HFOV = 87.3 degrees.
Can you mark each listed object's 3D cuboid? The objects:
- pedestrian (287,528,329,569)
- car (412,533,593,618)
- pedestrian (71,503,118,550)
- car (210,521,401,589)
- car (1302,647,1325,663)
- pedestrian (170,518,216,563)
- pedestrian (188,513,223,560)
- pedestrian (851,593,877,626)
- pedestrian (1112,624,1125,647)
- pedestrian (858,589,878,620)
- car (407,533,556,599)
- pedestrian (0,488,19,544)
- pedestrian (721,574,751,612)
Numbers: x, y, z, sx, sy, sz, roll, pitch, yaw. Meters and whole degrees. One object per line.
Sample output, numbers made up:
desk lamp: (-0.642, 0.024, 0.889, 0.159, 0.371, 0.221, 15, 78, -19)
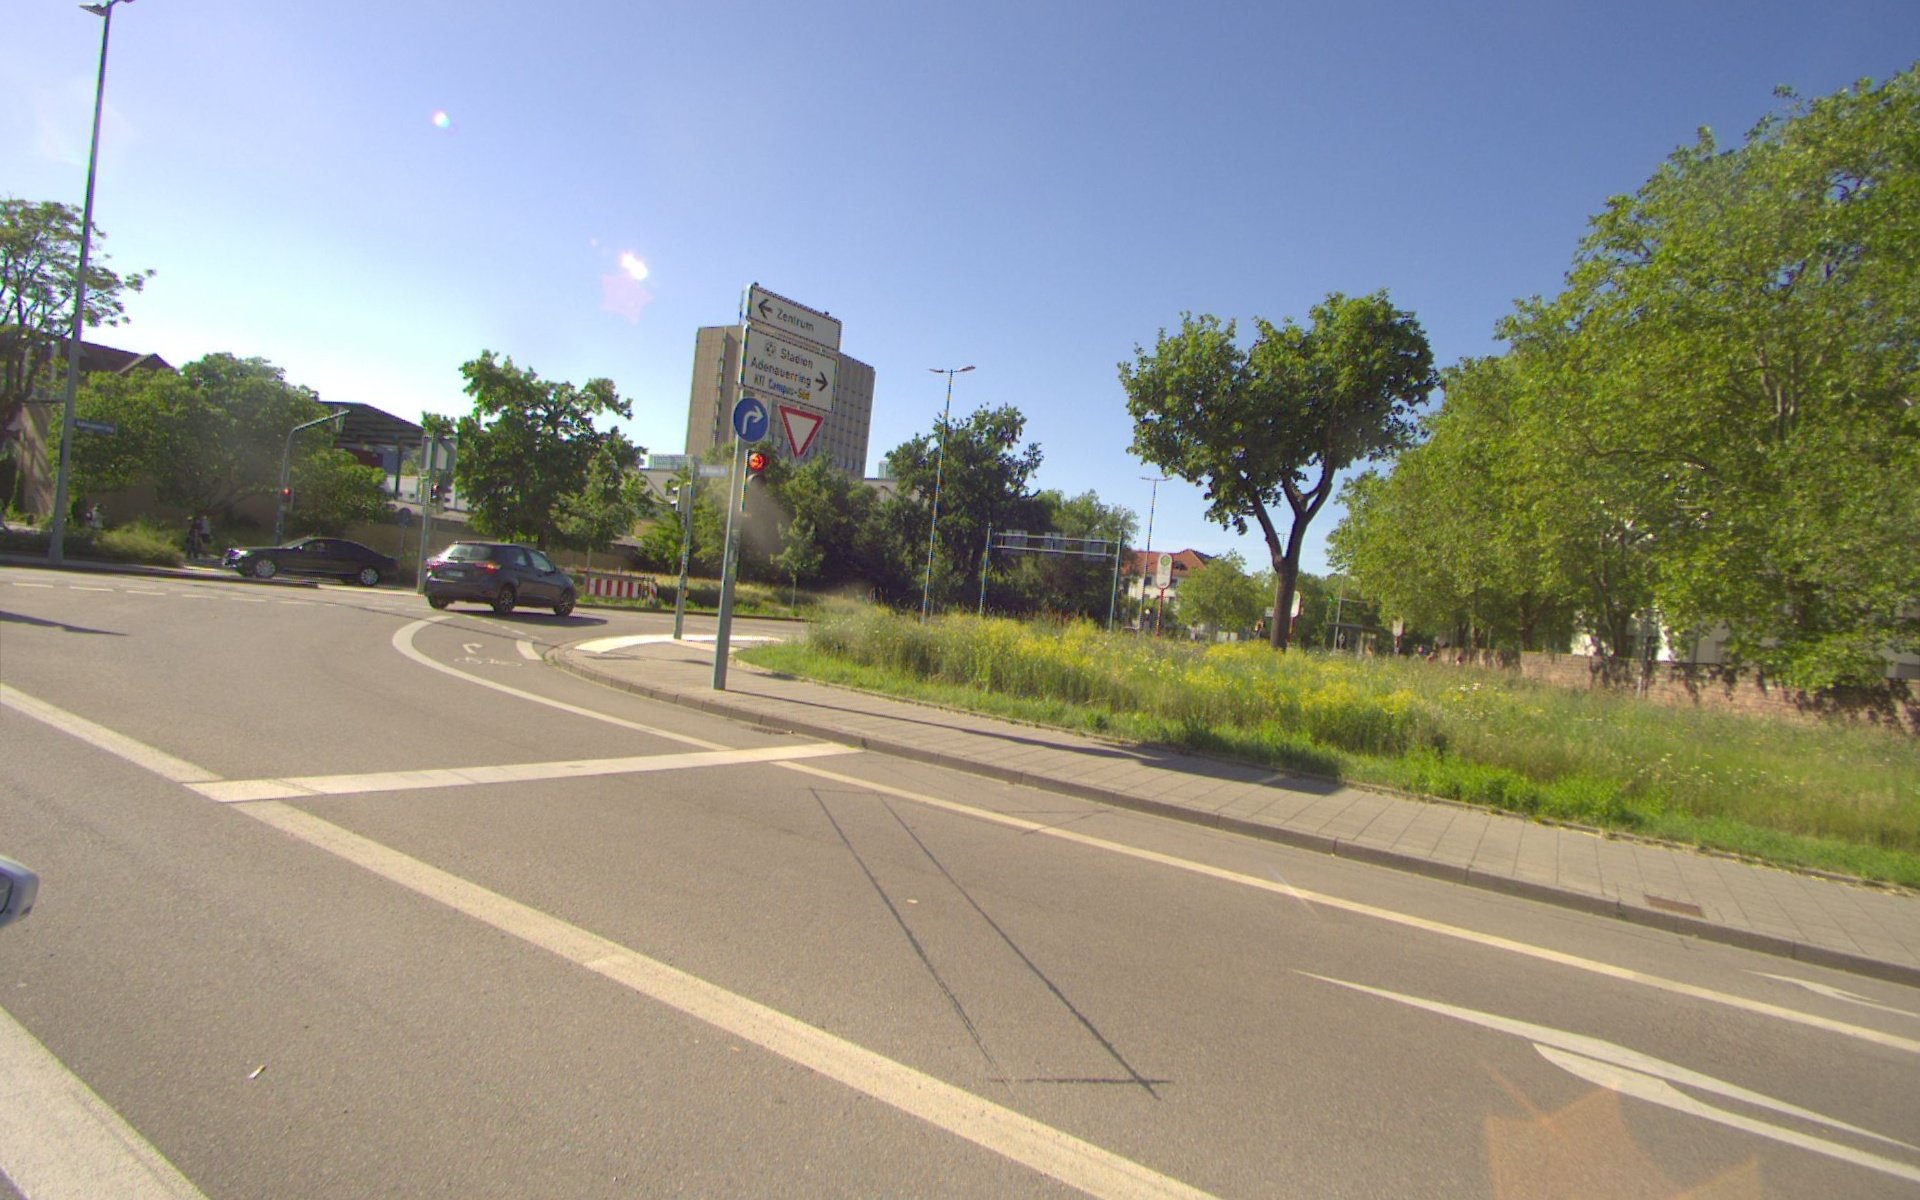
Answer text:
pedestrian: (-27.323, -2.148, 42.149, 0.927, 1.540, 1.146, 7, 1, 38)
car: (-10.023, -0.457, 22.410, 1.709, 1.535, 4.002, 6, 0, 7)
pedestrian: (-31.438, -2.680, 36.535, 0.917, 1.540, 1.083, 7, 1, 41)
car: (-21.602, -1.444, 33.398, 2.069, 1.601, 4.841, 7, 0, 37)
car: (45.515, 7.111, 129.508, 1.966, 1.666, 3.997, 6, -2, 29)
pedestrian: (-28.883, -2.235, 37.881, 0.865, 1.540, 1.074, 7, 1, 36)
pedestrian: (-29.999, -2.530, 39.986, 0.959, 1.754, 0.915, 6, 1, -40)
pedestrian: (-6.752, 0.681, 70.689, 1.065, 2.106, 1.231, 7, 1, 35)
pedestrian: (15.788, 3.575, 100.251, 0.633, 2.194, 0.912, 7, 1, 35)
pedestrian: (-6.637, 0.294, 72.510, 0.800, 2.106, 0.896, 7, 1, 35)
car: (-19.400, -1.357, 40.980, 2.043, 2.038, 4.992, 7, 0, 41)
pedestrian: (-33.586, -2.982, 35.095, 0.796, 1.879, 0.931, 7, 1, 41)
pedestrian: (-13.271, -0.407, 59.580, 0.966, 2.106, 1.186, 7, 1, 35)
